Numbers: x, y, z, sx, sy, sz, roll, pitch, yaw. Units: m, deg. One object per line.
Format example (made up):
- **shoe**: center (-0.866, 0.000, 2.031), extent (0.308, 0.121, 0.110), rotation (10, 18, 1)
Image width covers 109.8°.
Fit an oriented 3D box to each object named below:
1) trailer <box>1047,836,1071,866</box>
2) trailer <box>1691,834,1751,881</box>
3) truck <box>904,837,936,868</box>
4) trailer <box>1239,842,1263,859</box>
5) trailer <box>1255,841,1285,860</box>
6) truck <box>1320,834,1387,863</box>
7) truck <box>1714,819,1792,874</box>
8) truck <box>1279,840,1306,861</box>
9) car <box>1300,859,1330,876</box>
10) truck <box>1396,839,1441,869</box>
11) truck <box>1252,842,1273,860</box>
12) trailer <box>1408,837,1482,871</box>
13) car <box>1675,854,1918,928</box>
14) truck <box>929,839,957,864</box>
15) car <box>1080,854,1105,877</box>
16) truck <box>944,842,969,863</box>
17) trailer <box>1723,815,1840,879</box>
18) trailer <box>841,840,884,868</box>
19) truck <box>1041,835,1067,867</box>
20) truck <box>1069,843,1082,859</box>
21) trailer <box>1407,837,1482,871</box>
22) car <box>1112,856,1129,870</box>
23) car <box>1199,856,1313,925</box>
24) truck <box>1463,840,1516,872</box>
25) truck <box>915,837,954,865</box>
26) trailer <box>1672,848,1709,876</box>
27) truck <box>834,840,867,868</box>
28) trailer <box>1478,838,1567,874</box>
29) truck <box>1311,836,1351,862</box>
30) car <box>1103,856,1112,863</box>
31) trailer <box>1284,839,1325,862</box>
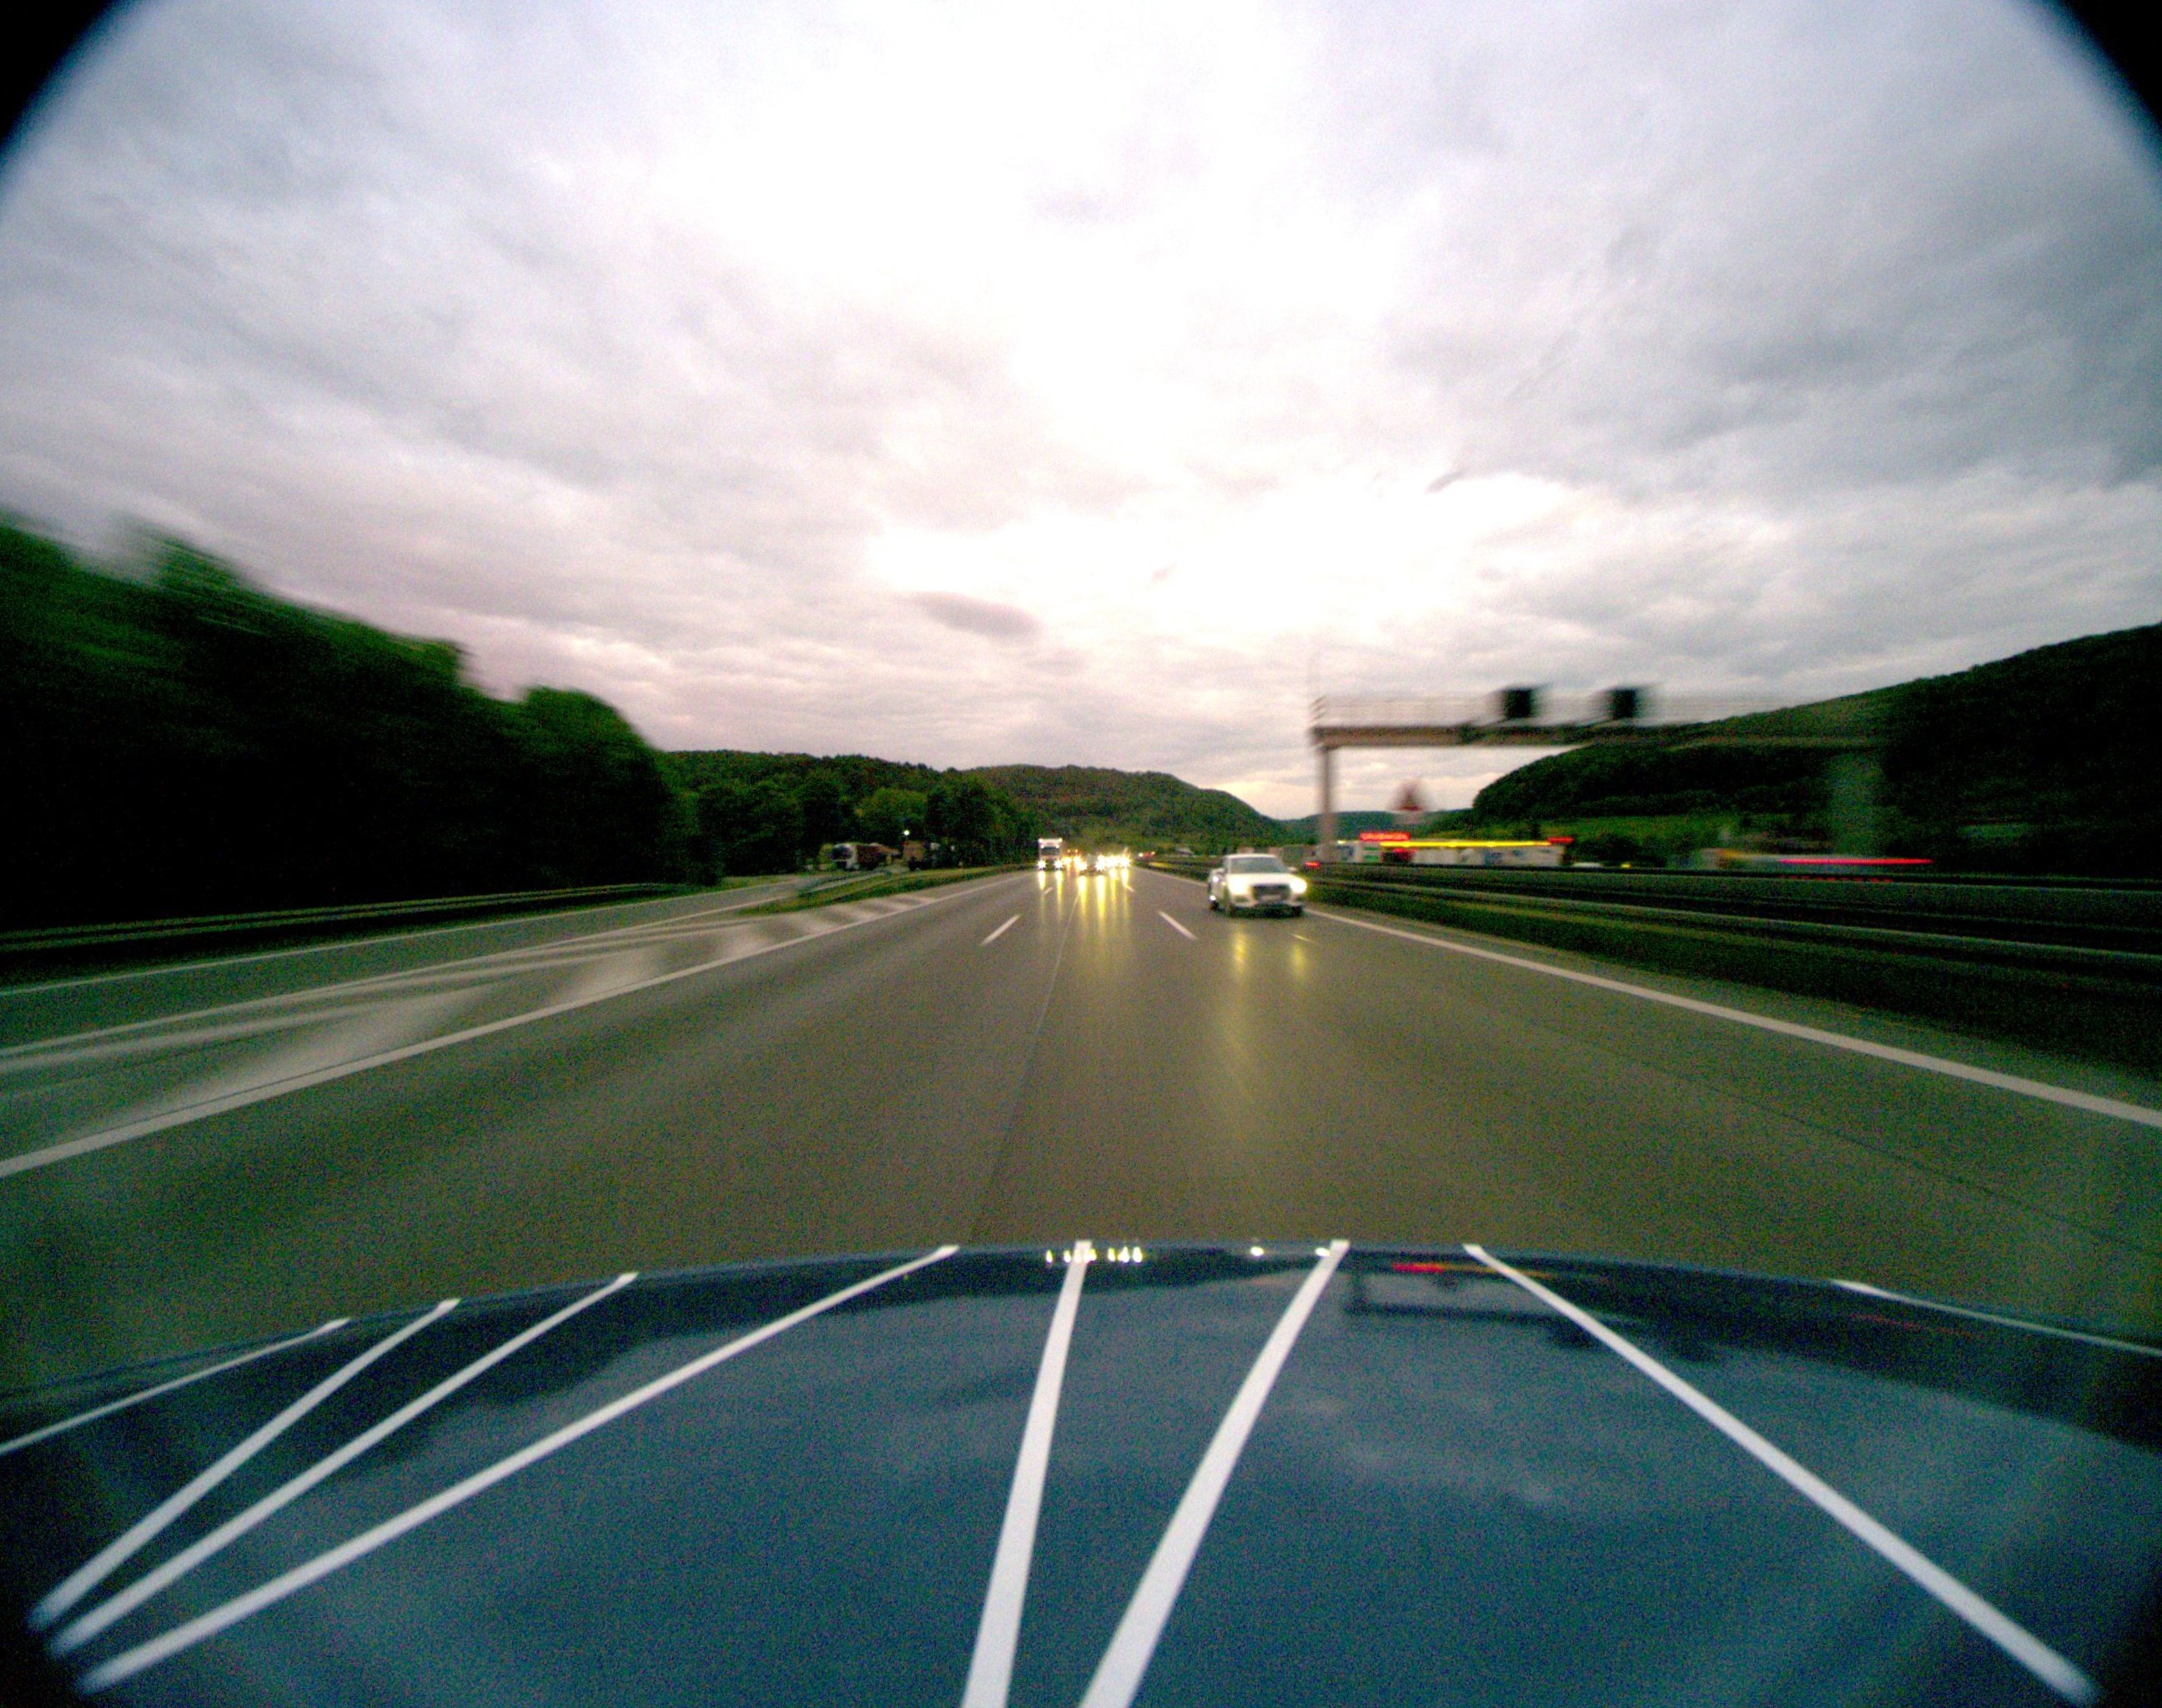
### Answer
- **trailer**: center (-2.938, -0.451, 103.486), extent (2.623, 3.805, 8.878), rotation (-1, 1, 2)
- **trailer**: center (61.178, 0.262, 72.926), extent (3.280, 4.082, 14.475), rotation (0, 1, 36)
- **truck**: center (-21.809, -0.208, 103.610), extent (2.847, 3.893, 11.982), rotation (0, 0, -6)
- **trailer**: center (37.068, -0.698, 166.181), extent (2.880, 3.405, 13.226), rotation (-1, 0, 2)
- **trailer**: center (36.373, -0.656, 146.637), extent (2.880, 3.405, 13.572), rotation (-1, 0, 2)
- **truck**: center (34.627, -0.685, 97.283), extent (2.881, 3.405, 13.785), rotation (-1, 0, -3)
- **truck**: center (49.070, -0.534, 55.721), extent (3.006, 3.657, 7.693), rotation (-1, 0, 32)
- **truck**: center (35.772, -0.516, 128.633), extent (2.880, 3.405, 6.727), rotation (-1, 0, 2)
- **car**: center (21.563, 1.246, 70.154), extent (1.645, 1.412, 3.535), rotation (-1, 0, 1)
- **truck**: center (50.131, -0.071, 113.119), extent (3.025, 4.235, 8.865), rotation (-1, 0, 2)
- **truck**: center (36.615, -0.645, 153.582), extent (2.880, 3.405, 6.727), rotation (-1, 0, 2)
- **trailer**: center (49.939, -0.030, 105.048), extent (3.025, 4.234, 15.947), rotation (-1, 0, 2)
- **car**: center (17.394, 0.808, 18.870), extent (1.733, 1.577, 4.645), rotation (-1, 0, 1)
- **truck**: center (-24.156, -0.496, 133.253), extent (3.783, 4.204, 8.812), rotation (0, 0, -4)
- **car**: center (0.903, 0.889, 61.584), extent (1.927, 1.674, 4.806), rotation (0, 1, 0)
- **truck**: center (-24.263, -0.265, 148.518), extent (3.362, 3.893, 11.985), rotation (0, 0, -3)
- **trailer**: center (45.477, -0.450, 49.859), extent (3.063, 3.657, 13.368), rotation (-1, 0, 31)
- **trailer**: center (-33.141, -0.044, 115.928), extent (2.846, 3.893, 13.573), rotation (0, 0, -1)
- **truck**: center (-3.204, -0.401, 93.828), extent (2.623, 3.805, 10.386), rotation (-1, 1, 1)
- **truck**: center (-1.359, -0.761, 195.399), extent (3.120, 3.850, 14.162), rotation (2, 0, 0)
- **trailer**: center (49.898, -0.029, 105.049), extent (3.025, 4.234, 15.947), rotation (-1, 0, 2)
- **car**: center (5.152, 1.168, 98.911), extent (1.894, 1.650, 5.639), rotation (-2, 1, 0)
- **car**: center (4.377, 0.849, 19.835), extent (1.794, 1.492, 5.037), rotation (-2, 0, 0)
- **truck**: center (49.476, 0.246, 92.277), extent (2.880, 3.618, 7.029), rotation (-1, 0, 2)
- **truck**: center (-23.513, -0.451, 123.420), extent (3.785, 4.204, 19.518), rotation (0, 0, -4)
- **trailer**: center (81.018, 0.995, 101.115), extent (2.932, 3.498, 13.446), rotation (0, 1, 35)
- **truck**: center (-32.989, -0.007, 109.119), extent (2.846, 3.893, 6.383), rotation (0, 0, -1)
- **trailer**: center (49.247, 0.241, 85.410), extent (2.880, 3.657, 12.717), rotation (-1, 0, 2)
- **truck**: center (34.260, -0.676, 104.396), extent (2.881, 3.405, 6.724), rotation (-1, 0, -3)
- **car**: center (6.278, 1.261, 180.430), extent (1.898, 1.503, 4.000), rotation (-1, 0, 1)
- **trailer**: center (35.530, -0.514, 121.576), extent (2.880, 3.405, 13.852), rotation (-1, 0, 2)
